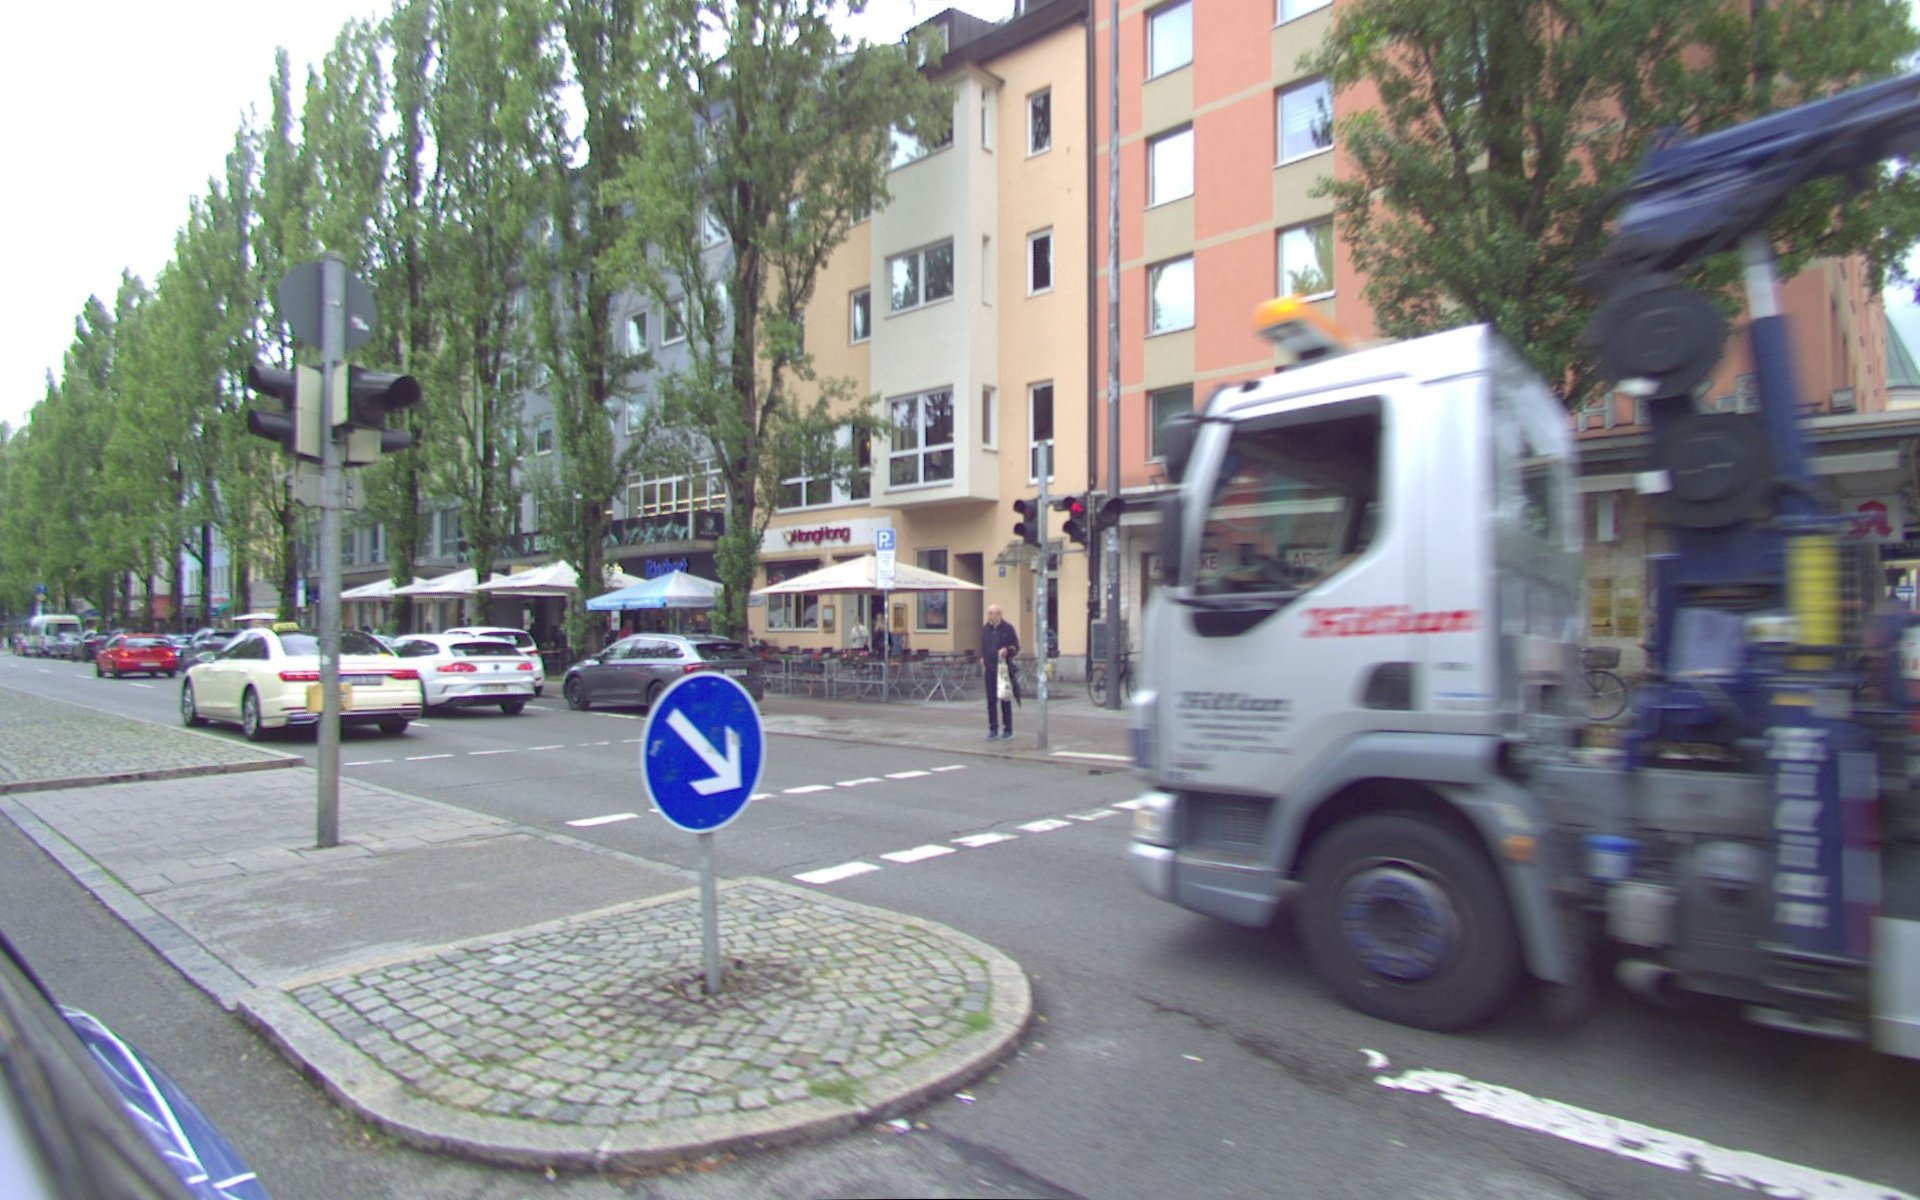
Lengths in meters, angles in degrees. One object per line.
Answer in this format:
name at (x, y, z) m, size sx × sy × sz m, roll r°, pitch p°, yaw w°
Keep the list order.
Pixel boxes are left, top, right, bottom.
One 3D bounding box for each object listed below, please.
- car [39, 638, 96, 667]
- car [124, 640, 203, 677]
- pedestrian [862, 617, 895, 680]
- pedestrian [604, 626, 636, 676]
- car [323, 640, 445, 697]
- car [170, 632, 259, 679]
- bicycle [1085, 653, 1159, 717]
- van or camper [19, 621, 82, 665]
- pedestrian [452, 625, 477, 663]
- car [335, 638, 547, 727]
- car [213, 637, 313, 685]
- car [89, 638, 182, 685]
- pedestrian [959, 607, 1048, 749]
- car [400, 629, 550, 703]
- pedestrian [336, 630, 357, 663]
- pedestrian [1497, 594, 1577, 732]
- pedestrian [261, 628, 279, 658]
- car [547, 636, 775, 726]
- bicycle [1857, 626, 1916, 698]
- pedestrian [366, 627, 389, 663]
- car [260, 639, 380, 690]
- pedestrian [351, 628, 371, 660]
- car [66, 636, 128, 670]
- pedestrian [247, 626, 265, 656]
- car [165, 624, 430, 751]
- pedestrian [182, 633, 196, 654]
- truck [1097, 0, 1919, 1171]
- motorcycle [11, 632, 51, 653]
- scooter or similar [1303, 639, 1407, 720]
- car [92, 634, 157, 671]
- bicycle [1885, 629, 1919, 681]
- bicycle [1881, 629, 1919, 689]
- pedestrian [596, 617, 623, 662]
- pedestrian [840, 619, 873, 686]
car at (-50.947, 2.966, 57.747) m, size 4.256 × 1.541 × 1.686 m, roll -1°, pitch -3°, yaw 39°
car at (-32.973, 2.398, 41.850) m, size 4.396 × 1.428 × 1.641 m, roll -1°, pitch -3°, yaw 39°
pedestrian at (-2.195, 1.292, 27.185) m, size 0.691 × 1.651 × 0.549 m, roll -2°, pitch -3°, yaw 40°
pedestrian at (-11.225, 1.667, 33.424) m, size 0.756 × 1.614 × 0.732 m, roll -2°, pitch -3°, yaw 42°
car at (-15.532, 1.797, 27.207) m, size 4.184 × 1.392 × 1.478 m, roll -1°, pitch -3°, yaw 41°
car at (-28.101, 2.047, 38.075) m, size 4.584 × 1.693 × 1.761 m, roll -2°, pitch -3°, yaw 42°
bicycle at (2.766, 1.437, 17.459) m, size 0.324 × 0.993 × 1.817 m, roll 0°, pitch -2°, yaw -24°
van or camper at (-56.119, 2.661, 62.382) m, size 6.640 × 2.570 × 2.103 m, roll -2°, pitch -2°, yaw 41°
pedestrian at (-21.566, 1.900, 44.044) m, size 0.756 × 1.653 × 0.732 m, roll -2°, pitch -3°, yaw 42°
car at (-9.553, 1.401, 18.460) m, size 4.629 × 1.419 × 1.804 m, roll -2°, pitch -3°, yaw 40°
car at (-23.361, 2.012, 33.871) m, size 4.367 × 1.478 × 1.660 m, roll -1°, pitch -3°, yaw 41°
car at (-27.426, 1.999, 33.632) m, size 3.821 × 1.448 × 1.719 m, roll -2°, pitch -3°, yaw 41°
pedestrian at (0.577, 1.006, 13.621) m, size 0.725 × 1.809 × 0.995 m, roll -1°, pitch -1°, yaw -31°
car at (-11.551, 1.504, 24.013) m, size 4.093 × 1.595 × 1.685 m, roll -1°, pitch -3°, yaw 41°
pedestrian at (-30.853, 2.339, 50.901) m, size 0.711 × 1.663 × 0.714 m, roll -2°, pitch -3°, yaw 41°
pedestrian at (7.798, 0.832, 13.677) m, size 0.777 × 1.784 × 0.717 m, roll -2°, pitch -2°, yaw 42°
pedestrian at (-42.243, 2.648, 61.974) m, size 0.715 × 1.808 × 0.740 m, roll -2°, pitch -2°, yaw 41°
car at (-5.582, 1.398, 18.594) m, size 4.584 × 1.449 × 1.686 m, roll -1°, pitch -3°, yaw 39°
bicycle at (16.229, 1.053, 17.732) m, size 0.690 × 1.193 × 2.034 m, roll -2°, pitch -2°, yaw 43°
pedestrian at (-29.073, 2.237, 50.504) m, size 0.755 × 1.768 × 0.810 m, roll -2°, pitch -2°, yaw 41°
car at (-19.325, 1.900, 30.485) m, size 4.428 × 1.423 × 1.686 m, roll -1°, pitch -3°, yaw 39°
pedestrian at (-31.245, 2.293, 52.757) m, size 0.755 × 1.685 × 0.701 m, roll -2°, pitch -2°, yaw 41°
car at (-44.438, 2.718, 52.096) m, size 4.500 × 1.645 × 1.685 m, roll -1°, pitch -3°, yaw 41°
pedestrian at (-42.701, 2.496, 61.372) m, size 0.715 × 1.808 × 0.740 m, roll -2°, pitch -2°, yaw 41°
car at (-9.568, 1.143, 14.439) m, size 4.982 × 1.513 × 1.825 m, roll -2°, pitch -3°, yaw 40°
pedestrian at (-53.182, 2.998, 69.810) m, size 0.550 × 1.449 × 0.642 m, roll -2°, pitch -2°, yaw 36°
truck at (4.567, -0.377, 2.482) m, size 8.434 × 3.698 × 2.438 m, roll -1°, pitch -2°, yaw 41°
motorcycle at (-65.811, 2.987, 71.719) m, size 0.569 × 1.432 × 2.001 m, roll -2°, pitch -2°, yaw 33°
scooter or similar at (6.015, 1.191, 15.436) m, size 1.401 × 1.182 × 0.403 m, roll -2°, pitch -2°, yaw 37°
car at (-40.525, 2.542, 49.054) m, size 3.766 × 1.699 × 1.602 m, roll -1°, pitch -4°, yaw 38°
bicycle at (22.606, 1.293, 24.200) m, size 0.690 × 1.193 × 2.034 m, roll -2°, pitch -2°, yaw 43°
bicycle at (20.049, 1.228, 21.485) m, size 0.690 × 1.193 × 2.034 m, roll -2°, pitch -2°, yaw 43°
pedestrian at (-13.879, 1.572, 40.046) m, size 0.755 × 1.768 × 0.733 m, roll -2°, pitch -3°, yaw 41°
pedestrian at (-2.724, 1.372, 26.673) m, size 0.691 × 1.731 × 0.549 m, roll -2°, pitch -3°, yaw 40°
